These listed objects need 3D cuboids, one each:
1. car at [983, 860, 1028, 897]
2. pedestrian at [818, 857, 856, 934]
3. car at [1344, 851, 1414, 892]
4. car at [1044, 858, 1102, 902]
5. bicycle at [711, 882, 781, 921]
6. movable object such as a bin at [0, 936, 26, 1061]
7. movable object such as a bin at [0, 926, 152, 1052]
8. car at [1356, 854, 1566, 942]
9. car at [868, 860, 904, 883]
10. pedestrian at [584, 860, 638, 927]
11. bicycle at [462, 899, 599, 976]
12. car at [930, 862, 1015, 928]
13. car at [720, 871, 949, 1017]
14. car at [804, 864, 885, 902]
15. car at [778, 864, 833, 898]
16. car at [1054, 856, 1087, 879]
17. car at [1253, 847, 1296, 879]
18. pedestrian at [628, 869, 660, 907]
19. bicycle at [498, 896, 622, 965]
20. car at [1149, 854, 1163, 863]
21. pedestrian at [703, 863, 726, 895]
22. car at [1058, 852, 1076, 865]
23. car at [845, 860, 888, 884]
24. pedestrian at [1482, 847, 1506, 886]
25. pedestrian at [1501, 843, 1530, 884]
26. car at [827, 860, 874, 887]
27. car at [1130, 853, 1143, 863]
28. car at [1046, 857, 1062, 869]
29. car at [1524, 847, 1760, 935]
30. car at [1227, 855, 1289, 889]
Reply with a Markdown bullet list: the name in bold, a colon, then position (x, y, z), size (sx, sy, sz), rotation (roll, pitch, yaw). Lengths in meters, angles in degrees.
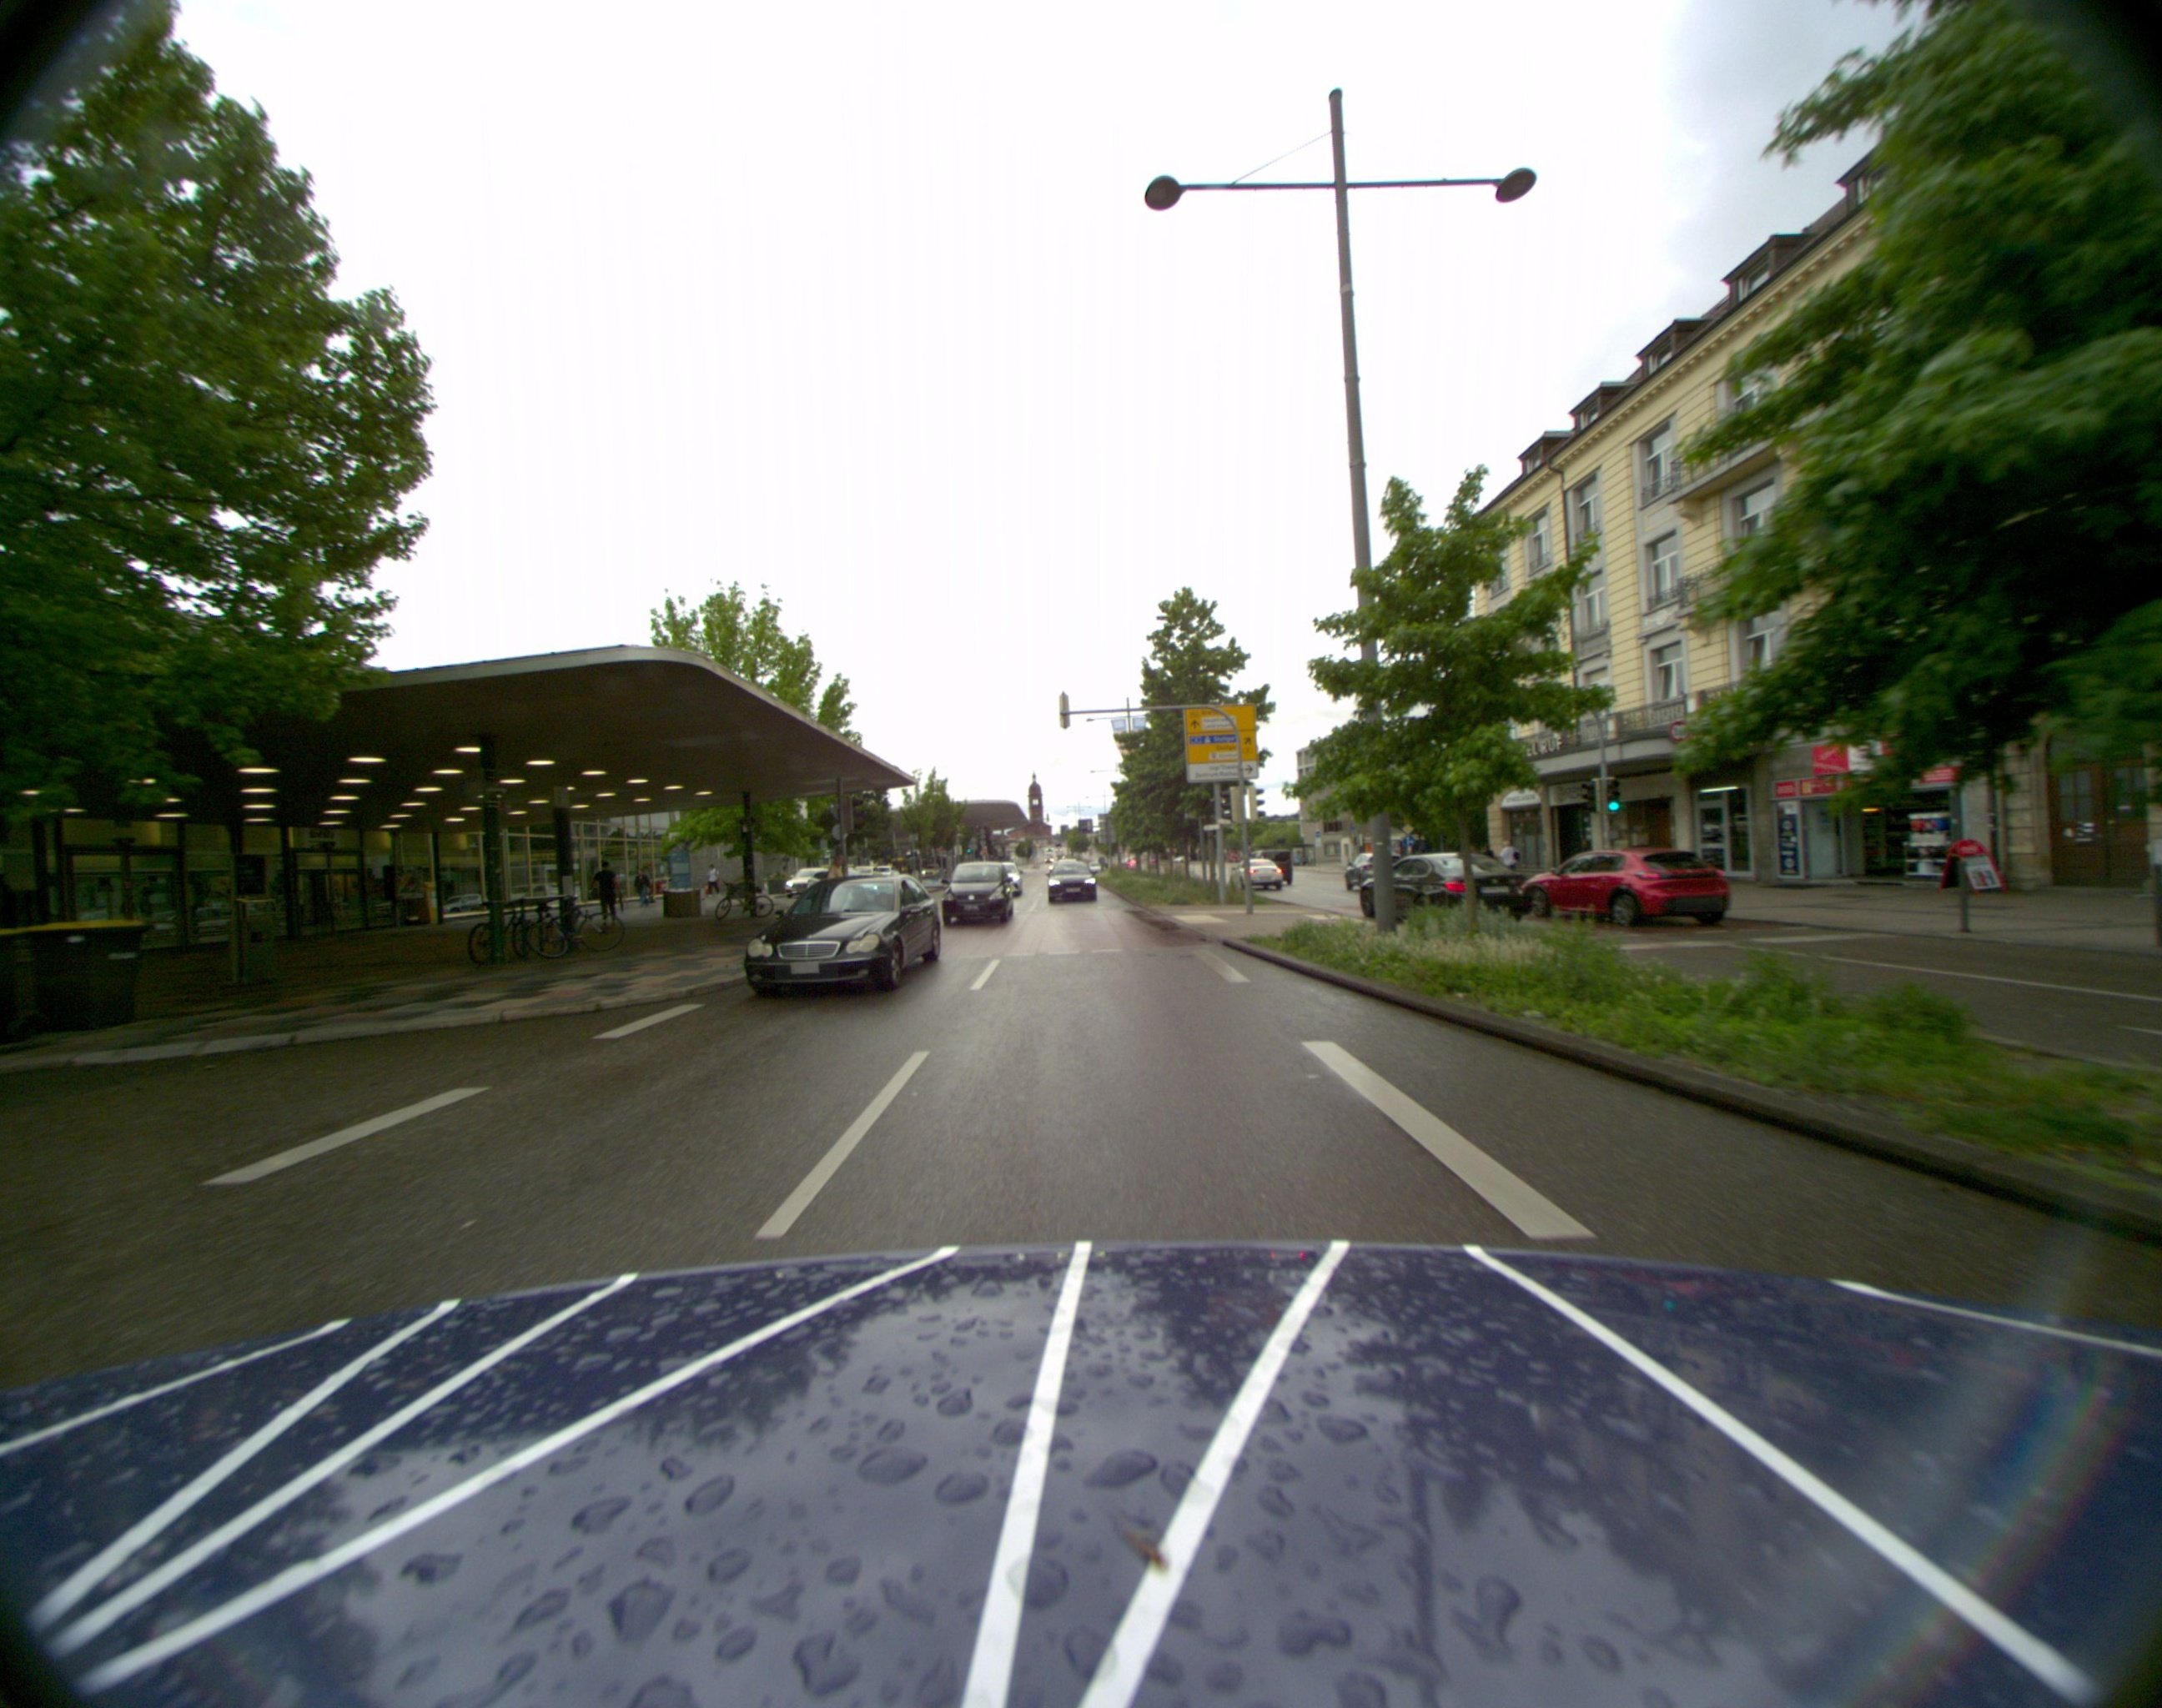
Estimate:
- **car**: position (-3.365, 1.052, 34.451), size (1.619, 1.477, 3.669), rotation (-2, 0, 0)
- **pedestrian**: position (-5.644, 0.938, 17.624), size (0.560, 1.741, 0.700), rotation (-1, 1, 6)
- **car**: position (12.058, 0.658, 30.952), size (1.766, 1.499, 3.845), rotation (-2, 0, 8)
- **car**: position (-0.217, 0.926, 28.754), size (1.871, 1.466, 3.826), rotation (-2, 0, 4)
- **bicycle**: position (-9.558, 1.339, 21.696), size (1.720, 1.040, 0.524), rotation (-1, 1, -10)
- **movable object such as a bin**: position (-10.026, 1.317, 6.616), size (0.725, 1.101, 0.601), rotation (-2, 1, -9)
- **movable object such as a bin**: position (-9.932, 1.305, 7.519), size (0.691, 1.101, 0.548), rotation (-2, 1, -14)
- **car**: position (7.601, 0.771, 15.890), size (1.847, 1.455, 5.030), rotation (-2, 0, 0)
- **car**: position (-14.914, 1.323, 58.356), size (1.820, 1.581, 4.076), rotation (-2, 0, -2)
- **pedestrian**: position (-12.902, 1.069, 20.887), size (0.823, 1.747, 0.913), rotation (-2, 1, 6)
- **bicycle**: position (-8.977, 1.322, 12.435), size (1.723, 1.040, 0.523), rotation (-3, 1, -41)
- **car**: position (-2.786, 0.998, 20.213), size (1.872, 1.466, 3.824), rotation (-2, 0, -3)
- **car**: position (-3.067, 1.043, 10.370), size (1.872, 1.466, 3.825), rotation (-2, 0, -1)
- **car**: position (-10.467, 1.249, 33.463), size (1.824, 1.482, 4.148), rotation (-2, 1, -42)
- **car**: position (-14.215, 1.357, 39.456), size (1.821, 1.546, 4.461), rotation (-2, 0, -9)
- **car**: position (-0.694, 0.904, 51.728), size (1.983, 1.438, 3.908), rotation (-1, 1, 2)
- **car**: position (11.200, 0.479, 44.159), size (1.815, 1.740, 3.812), rotation (-2, 0, 6)
- **pedestrian**: position (-18.194, 1.409, 31.642), size (0.762, 1.502, 0.852), rotation (-2, 1, 0)
- **bicycle**: position (-9.012, 1.302, 13.221), size (1.723, 1.040, 0.524), rotation (-2, 1, -33)
- **car**: position (12.455, 0.772, 126.546), size (1.983, 1.438, 3.908), rotation (-2, 0, 2)
- **pedestrian**: position (-19.633, 1.324, 40.757), size (0.762, 1.639, 0.852), rotation (-2, 1, 0)
- **car**: position (-1.794, 0.528, 94.422), size (2.055, 1.581, 4.076), rotation (-2, 0, -2)
- **car**: position (-14.783, 1.201, 52.541), size (1.820, 1.482, 4.463), rotation (-2, 0, -2)
- **pedestrian**: position (16.032, 0.487, 29.531), size (0.643, 1.480, 0.747), rotation (-3, 0, 18)
- **pedestrian**: position (16.775, 0.376, 29.347), size (0.789, 1.529, 0.747), rotation (-3, 0, 18)
- **car**: position (-14.478, 1.193, 47.981), size (1.820, 1.482, 4.169), rotation (-2, 0, -2)
- **car**: position (8.779, 0.665, 120.314), size (1.983, 1.438, 3.908), rotation (-2, 0, 2)
- **car**: position (-3.821, 1.226, 107.171), size (2.055, 1.581, 4.076), rotation (-2, 0, -2)
- **car**: position (10.728, 0.614, 14.930), size (1.682, 1.437, 3.914), rotation (-2, 1, -1)
- **car**: position (8.245, 0.795, 35.723), size (1.847, 1.455, 4.372), rotation (-2, 0, 0)
